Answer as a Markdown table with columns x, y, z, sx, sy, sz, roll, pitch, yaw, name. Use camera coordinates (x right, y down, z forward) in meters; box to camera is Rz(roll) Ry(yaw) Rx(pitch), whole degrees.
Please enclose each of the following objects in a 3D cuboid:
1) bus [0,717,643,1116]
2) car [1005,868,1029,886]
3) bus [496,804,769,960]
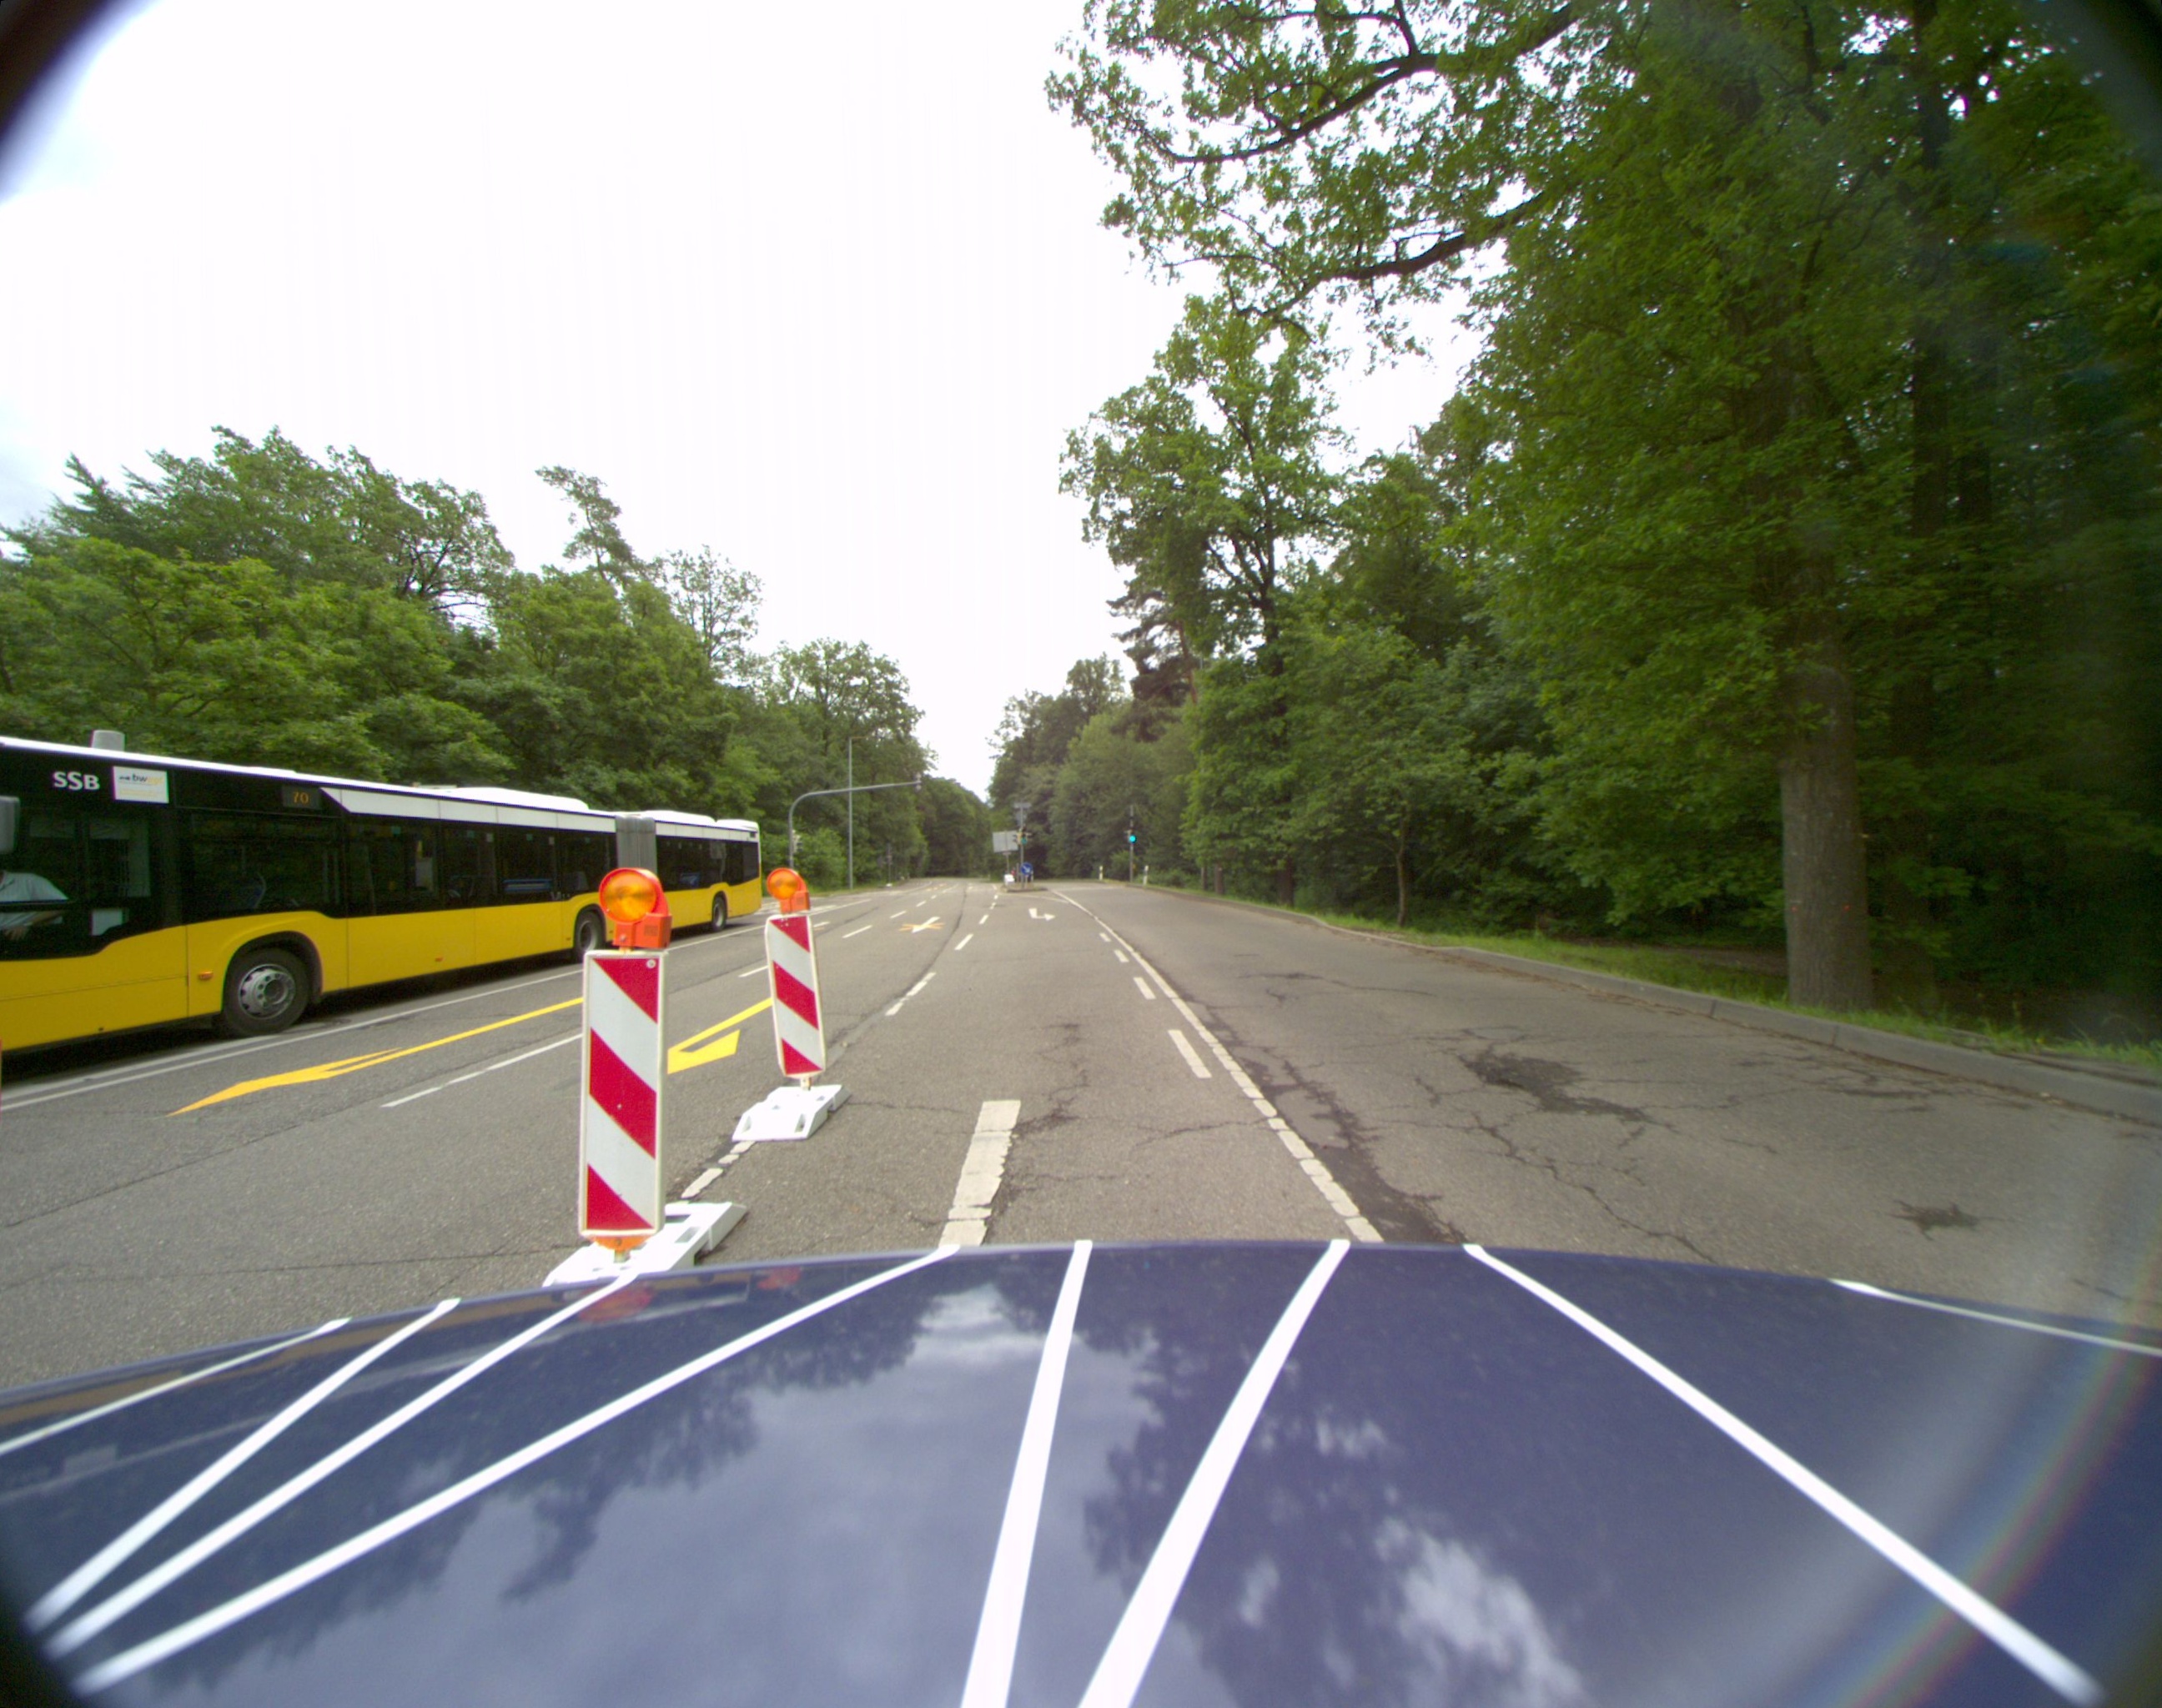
| x | y | z | sx | sy | sz | roll | pitch | yaw | name |
| --- | --- | --- | --- | --- | --- | --- | --- | --- | --- |
| -10.219 | 0.548 | 10.430 | 2.811 | 3.140 | 10.515 | -2 | 0 | -4 | bus |
| -5.446 | 1.908 | 64.380 | 1.752 | 1.322 | 3.997 | -2 | 1 | -8 | car |
| -10.822 | 0.585 | 19.533 | 2.811 | 3.140 | 7.754 | -2 | 0 | -4 | bus |
